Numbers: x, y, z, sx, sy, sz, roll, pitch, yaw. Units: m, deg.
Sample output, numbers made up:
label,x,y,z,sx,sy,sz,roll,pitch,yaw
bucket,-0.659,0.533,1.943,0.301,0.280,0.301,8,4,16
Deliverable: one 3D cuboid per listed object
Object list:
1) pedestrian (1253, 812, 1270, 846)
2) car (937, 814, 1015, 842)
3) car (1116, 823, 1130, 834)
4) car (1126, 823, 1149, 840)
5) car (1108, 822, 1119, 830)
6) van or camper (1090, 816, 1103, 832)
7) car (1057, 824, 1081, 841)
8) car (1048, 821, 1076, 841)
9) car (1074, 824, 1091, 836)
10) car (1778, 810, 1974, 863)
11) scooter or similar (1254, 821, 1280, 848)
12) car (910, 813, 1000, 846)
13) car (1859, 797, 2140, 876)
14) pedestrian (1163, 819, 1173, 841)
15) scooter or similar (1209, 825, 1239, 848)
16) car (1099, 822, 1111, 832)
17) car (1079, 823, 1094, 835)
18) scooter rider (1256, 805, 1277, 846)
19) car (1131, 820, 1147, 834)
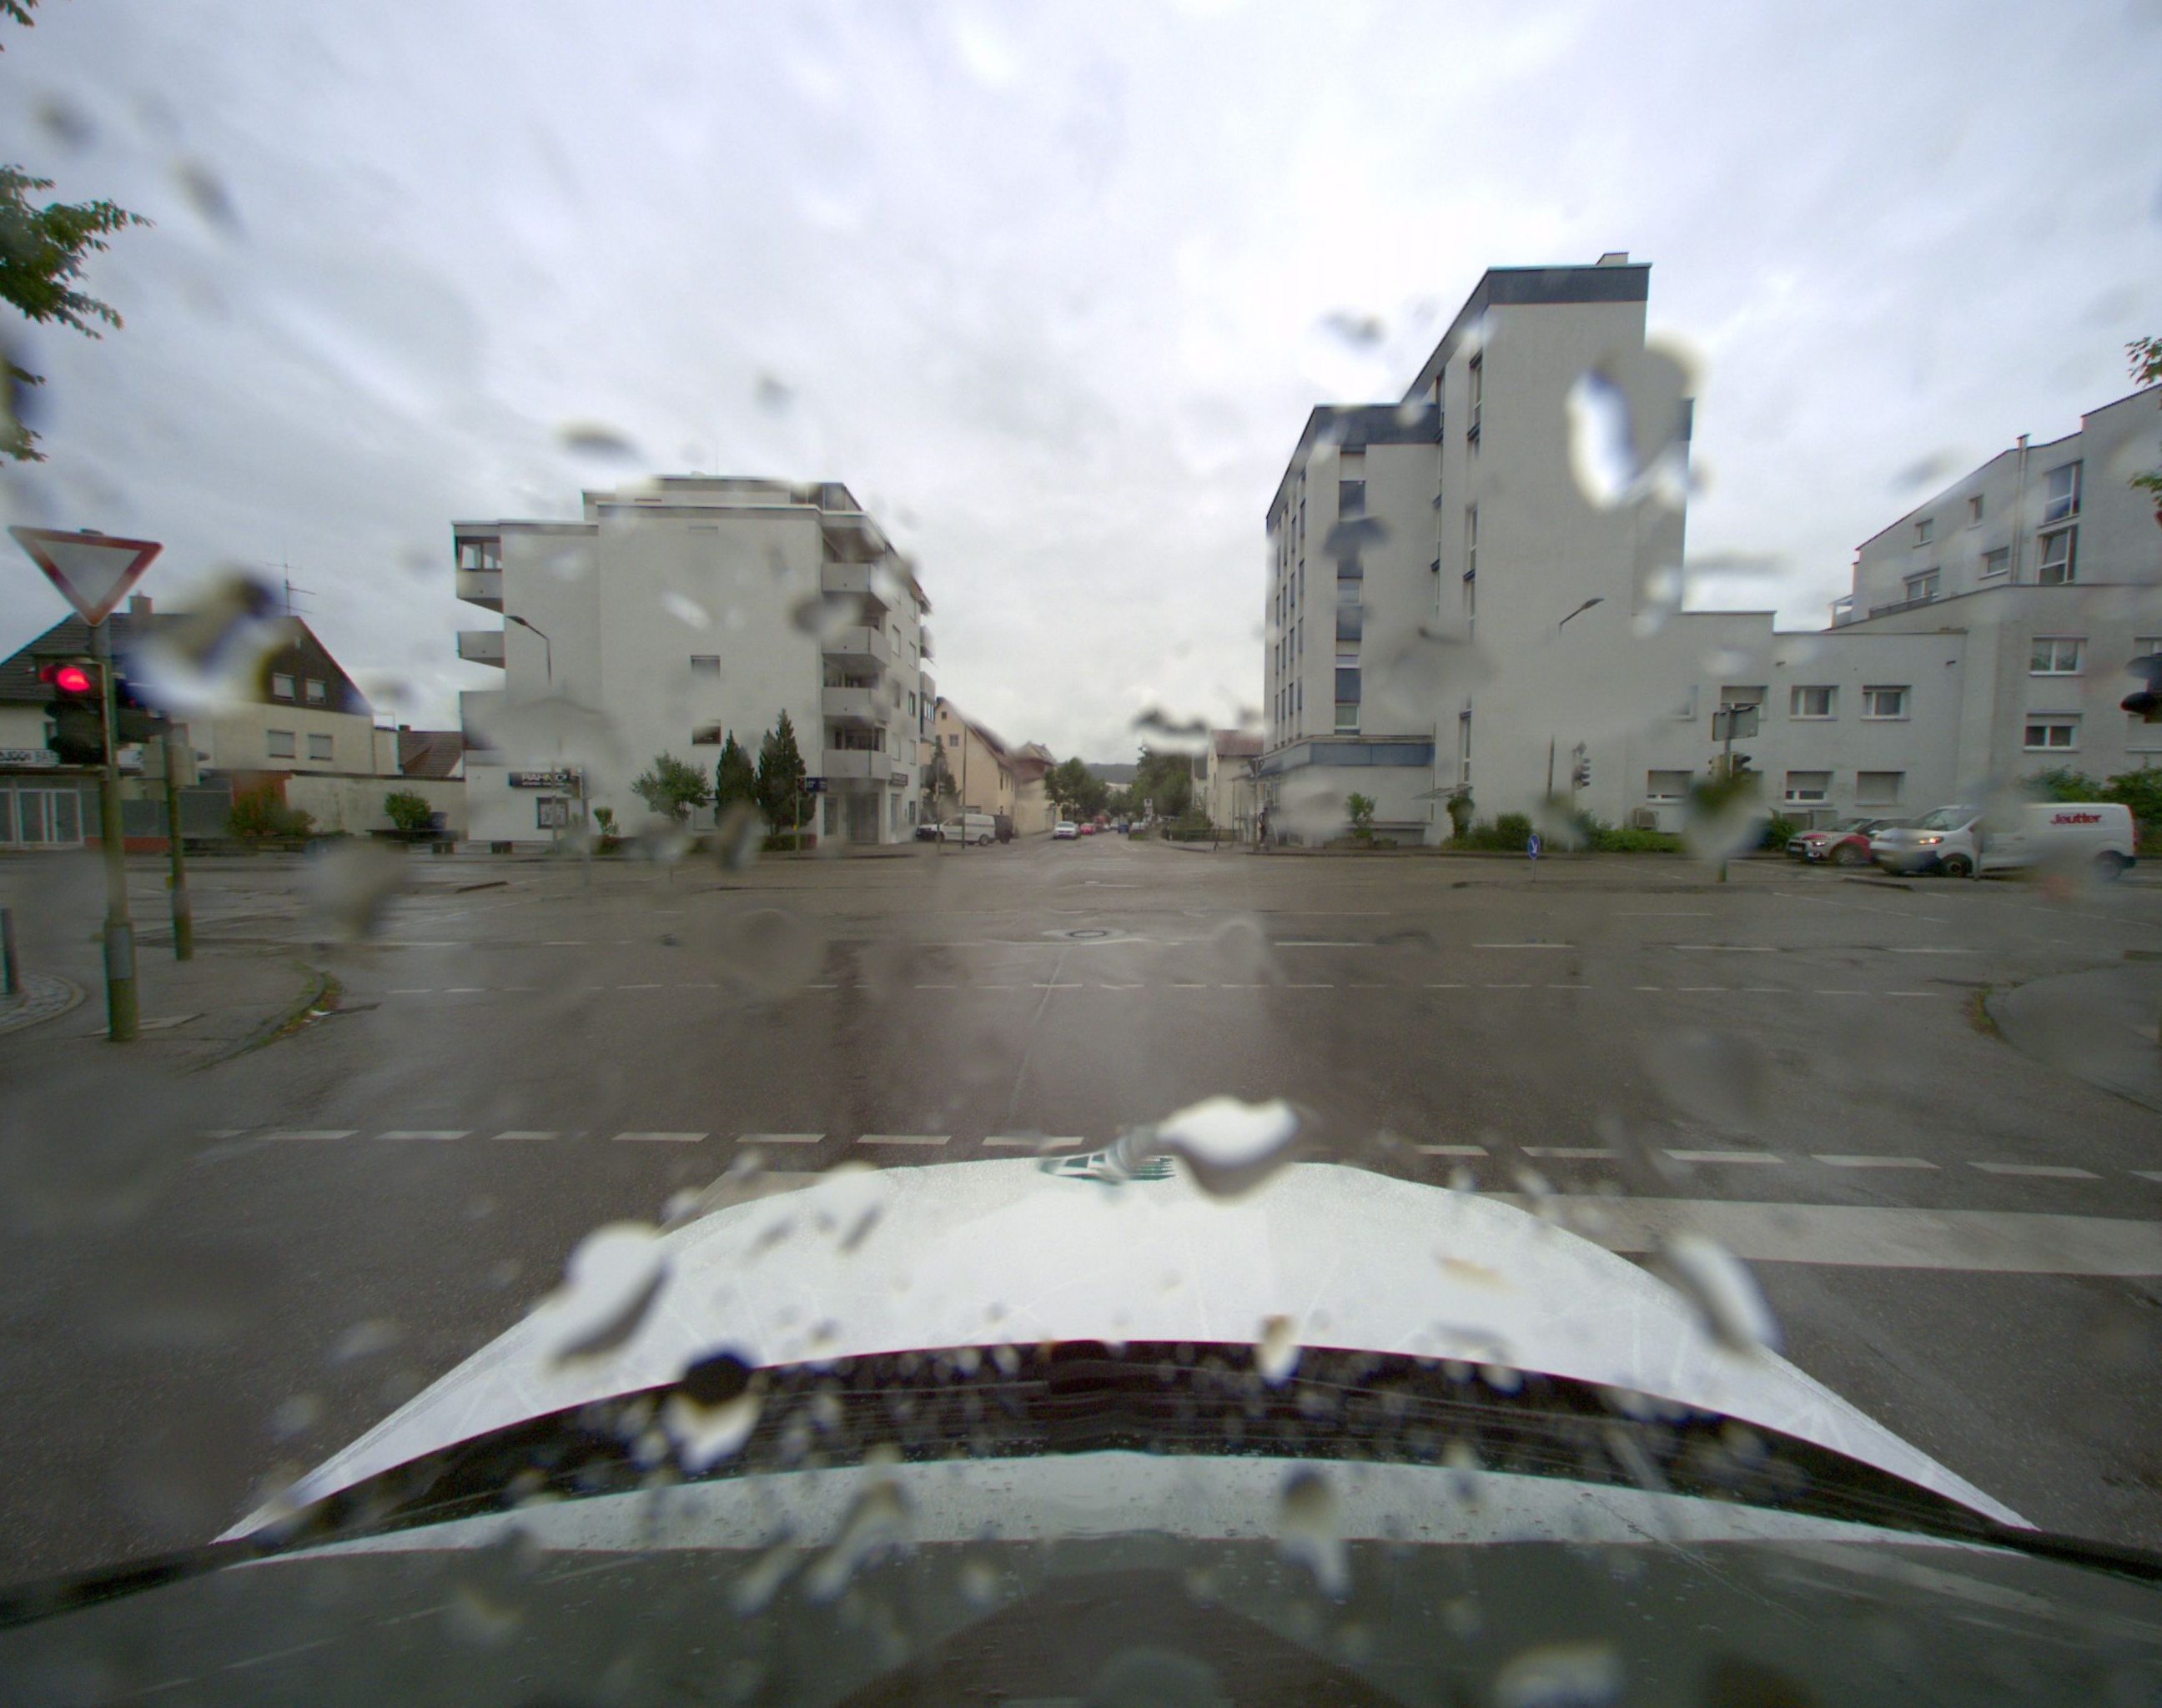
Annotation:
label,x,y,z,sx,sy,sz,roll,pitch,yaw
pedestrian,8.770,-1.207,39.566,0.646,1.647,0.525,3,1,-4
car,-7.074,-1.765,54.958,4.866,1.835,1.978,-2,2,-36
car,6.601,-3.925,126.563,1.984,1.683,4.007,-1,2,5
car,5.649,-2.269,81.709,2.137,1.589,4.131,-1,2,3
car,6.157,-5.269,154.752,1.894,1.558,4.195,-1,2,3
van or camper,2.452,-4.696,127.107,1.894,2.513,4.242,-1,2,3
car,-1.160,-2.090,79.610,1.985,1.625,4.195,-1,2,3
car,-1.540,-1.916,68.206,1.985,1.625,4.195,-1,2,3
car,0.198,-3.093,104.644,1.894,1.558,4.195,-1,2,3
car,23.840,-0.522,24.555,3.966,1.467,1.835,-1,2,6
scooter or similar,8.311,-0.858,36.387,0.756,1.171,1.311,-1,1,-6
car,-7.396,-1.445,47.976,4.866,1.835,1.978,-2,2,-36
car,23.497,-0.427,21.020,4.787,1.916,1.831,0,0,8
pedestrian,7.688,-2.127,72.283,0.743,1.848,0.526,3,1,-2
scooter or similar,6.769,-0.829,38.624,1.265,1.081,0.876,-1,1,-3
car,4.057,-4.608,138.799,1.894,1.558,4.195,-1,2,3
car,0.743,-3.470,113.043,1.894,1.558,4.195,-1,2,3
scooter rider,8.285,-1.285,36.418,0.751,1.795,0.672,-1,1,-5
car,7.357,-3.415,103.627,1.894,1.745,4.195,-1,2,3
